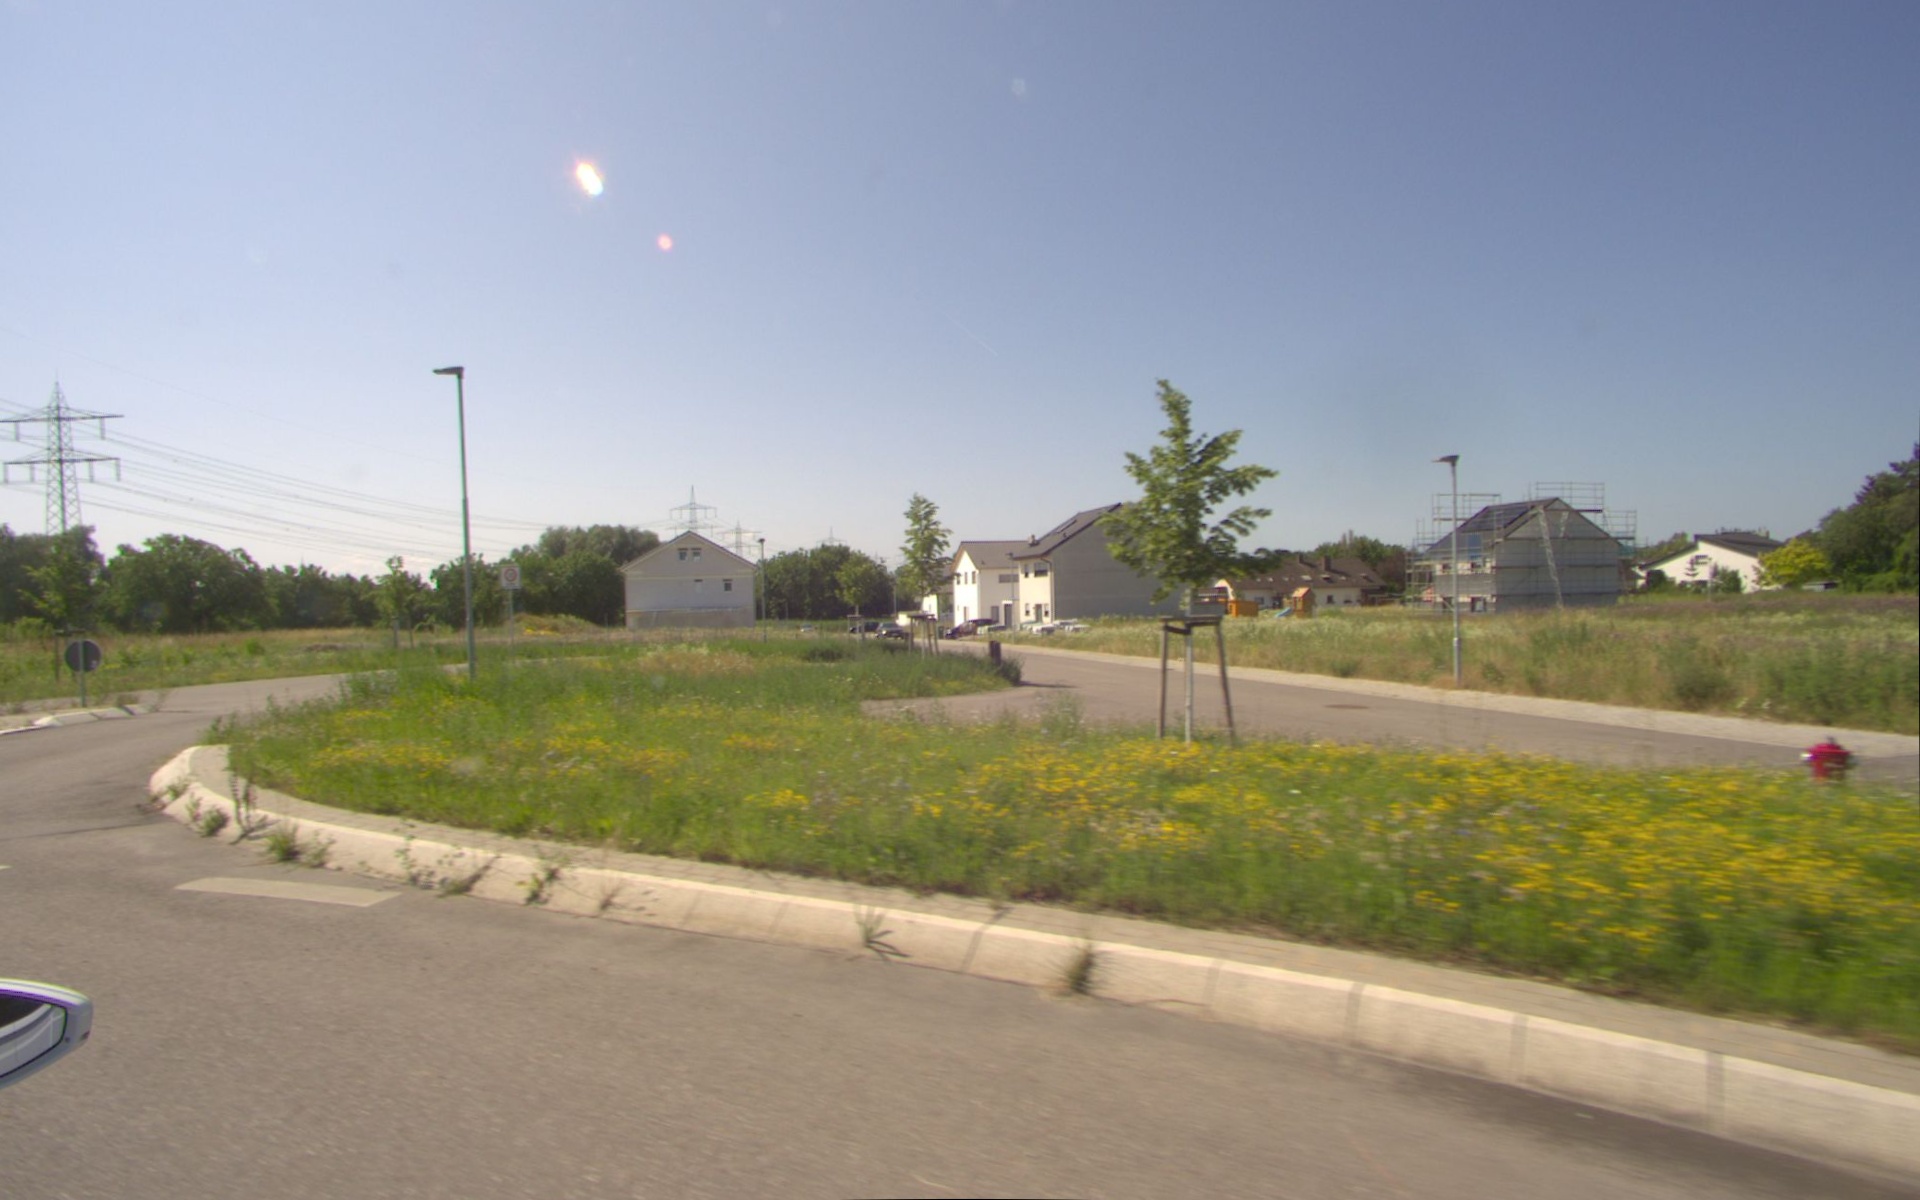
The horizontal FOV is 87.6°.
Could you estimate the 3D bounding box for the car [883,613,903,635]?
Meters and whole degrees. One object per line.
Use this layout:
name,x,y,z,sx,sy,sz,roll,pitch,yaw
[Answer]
car,-5.572,2.020,83.578,1.649,1.683,3.488,-1,-2,-4
